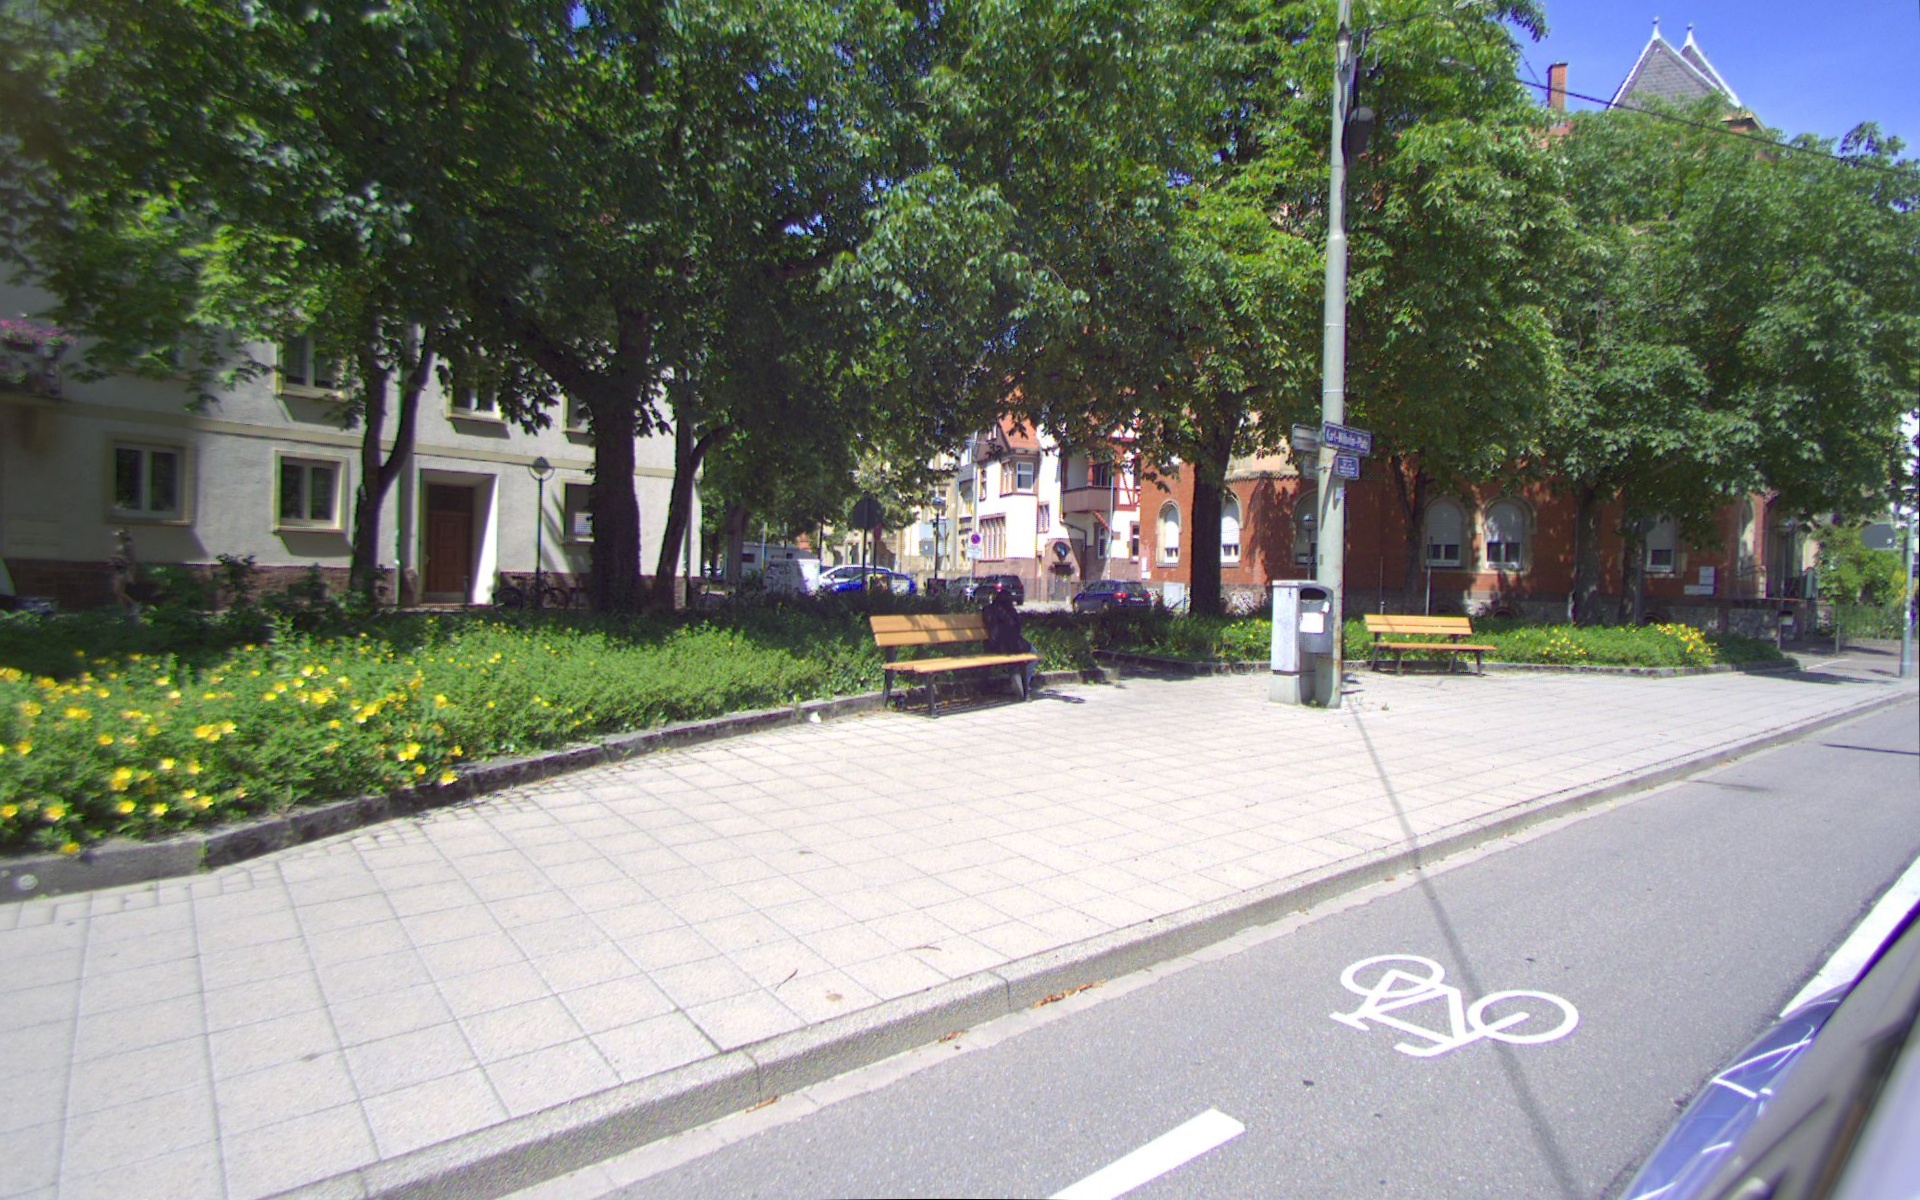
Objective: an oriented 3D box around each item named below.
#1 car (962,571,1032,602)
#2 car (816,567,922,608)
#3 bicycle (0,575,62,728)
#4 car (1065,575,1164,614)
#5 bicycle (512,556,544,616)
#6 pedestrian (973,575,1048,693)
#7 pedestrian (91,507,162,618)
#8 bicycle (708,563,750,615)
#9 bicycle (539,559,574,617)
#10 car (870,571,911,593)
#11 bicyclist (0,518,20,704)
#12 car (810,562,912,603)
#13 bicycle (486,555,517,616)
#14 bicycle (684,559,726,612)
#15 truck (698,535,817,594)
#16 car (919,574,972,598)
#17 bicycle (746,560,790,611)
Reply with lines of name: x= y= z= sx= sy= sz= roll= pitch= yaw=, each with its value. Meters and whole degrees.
car: x=1.912 y=-0.745 z=54.547 sx=1.946 sy=1.551 sz=5.503 roll=0 pitch=1 yaw=-19
car: x=-3.601 y=-0.499 z=40.004 sx=3.807 sy=1.447 sz=1.731 roll=2 pitch=0 yaw=-21
bicycle: x=-9.781 y=0.515 z=9.502 sx=0.583 sy=1.504 sz=2.163 roll=1 pitch=1 yaw=8
car: x=6.186 y=-0.256 z=41.196 sx=1.865 sy=1.459 sz=4.769 roll=0 pitch=1 yaw=-21
bicycle: x=-10.244 y=-0.344 z=23.958 sx=0.505 sy=1.364 sz=2.247 roll=0 pitch=1 yaw=-28
pedestrian: x=0.494 y=0.325 z=10.011 sx=0.469 sy=1.105 sz=0.511 roll=2 pitch=2 yaw=-34
pedestrian: x=-15.755 y=-0.705 z=19.133 sx=0.799 sy=2.039 sz=0.767 roll=1 pitch=1 yaw=24
bicycle: x=-6.117 y=-0.310 z=26.715 sx=0.536 sy=1.316 sz=2.162 roll=0 pitch=1 yaw=-28
bicycle: x=-9.584 y=-0.301 z=23.987 sx=0.536 sy=1.316 sz=2.162 roll=0 pitch=1 yaw=-28
car: x=-5.153 y=-1.341 z=74.472 sx=1.865 sy=1.575 sz=4.411 roll=0 pitch=1 yaw=-21
bicyclist: x=-9.715 y=0.110 z=9.881 sx=0.594 sy=1.822 sz=0.533 roll=1 pitch=1 yaw=9
car: x=-4.406 y=-0.774 z=45.127 sx=4.176 sy=1.673 sz=1.731 roll=2 pitch=0 yaw=-21
bicycle: x=-10.758 y=-0.360 z=23.723 sx=0.505 sy=1.361 sz=2.332 roll=0 pitch=1 yaw=-28
bicycle: x=-6.676 y=-0.388 z=26.419 sx=0.536 sy=1.316 sz=2.162 roll=0 pitch=1 yaw=-28
truck: x=-12.084 y=-2.061 z=60.560 sx=6.685 sy=3.193 sz=1.939 roll=2 pitch=0 yaw=-19
car: x=-0.969 y=-0.897 z=63.756 sx=1.865 sy=1.482 sz=4.626 roll=0 pitch=1 yaw=-21
bicycle: x=-5.154 y=-0.390 z=27.078 sx=0.536 sy=1.316 sz=2.162 roll=0 pitch=1 yaw=-28
